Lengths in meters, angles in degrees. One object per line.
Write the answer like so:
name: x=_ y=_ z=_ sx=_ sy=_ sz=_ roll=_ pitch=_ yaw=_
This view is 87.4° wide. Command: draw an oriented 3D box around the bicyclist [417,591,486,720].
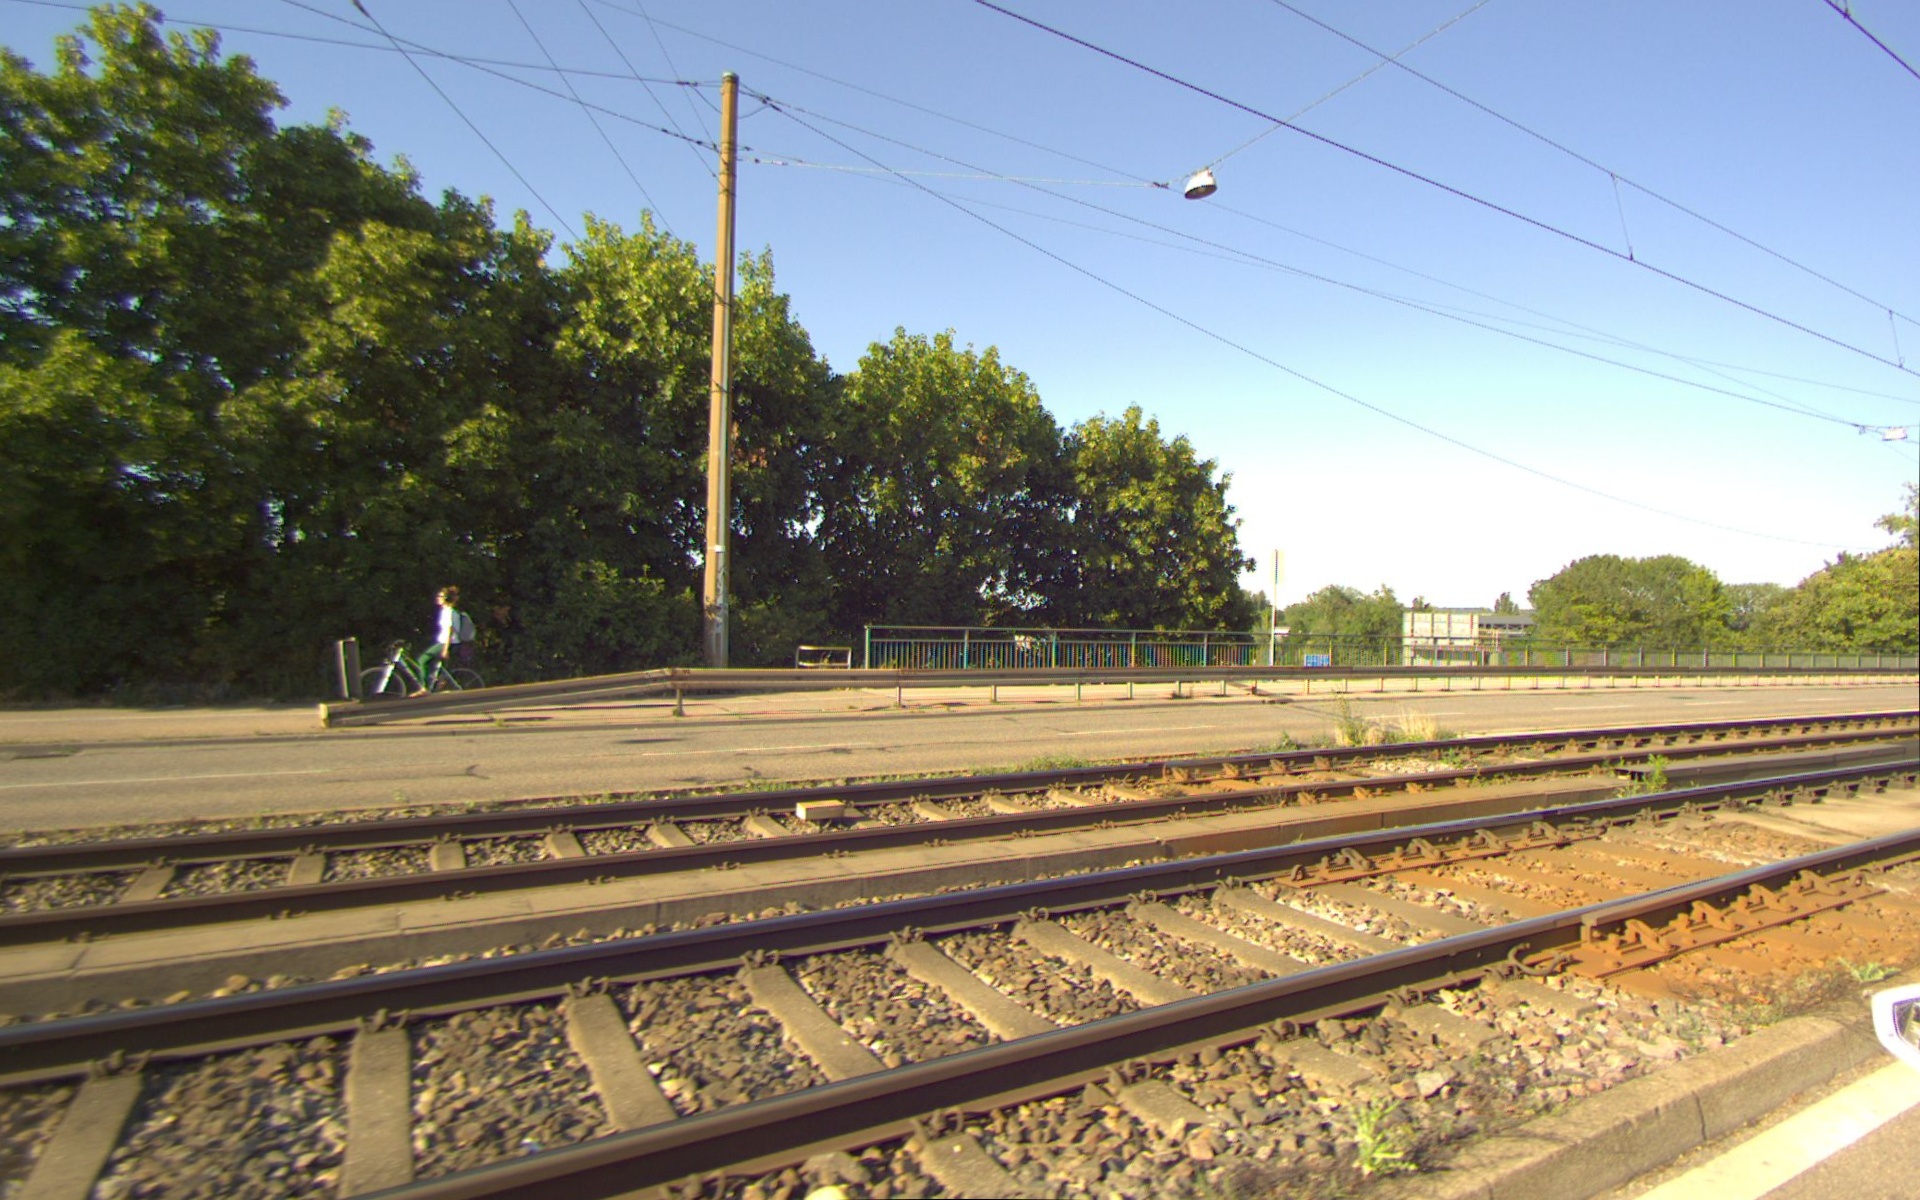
bicyclist: x=-7.656 y=0.821 z=15.126 sx=0.865 sy=1.887 sz=0.537 roll=2 pitch=1 yaw=-30

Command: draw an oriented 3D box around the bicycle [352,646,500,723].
bicycle: x=-7.933 y=1.241 z=14.977 sx=1.902 sy=1.057 sz=0.537 roll=2 pitch=1 yaw=-30
